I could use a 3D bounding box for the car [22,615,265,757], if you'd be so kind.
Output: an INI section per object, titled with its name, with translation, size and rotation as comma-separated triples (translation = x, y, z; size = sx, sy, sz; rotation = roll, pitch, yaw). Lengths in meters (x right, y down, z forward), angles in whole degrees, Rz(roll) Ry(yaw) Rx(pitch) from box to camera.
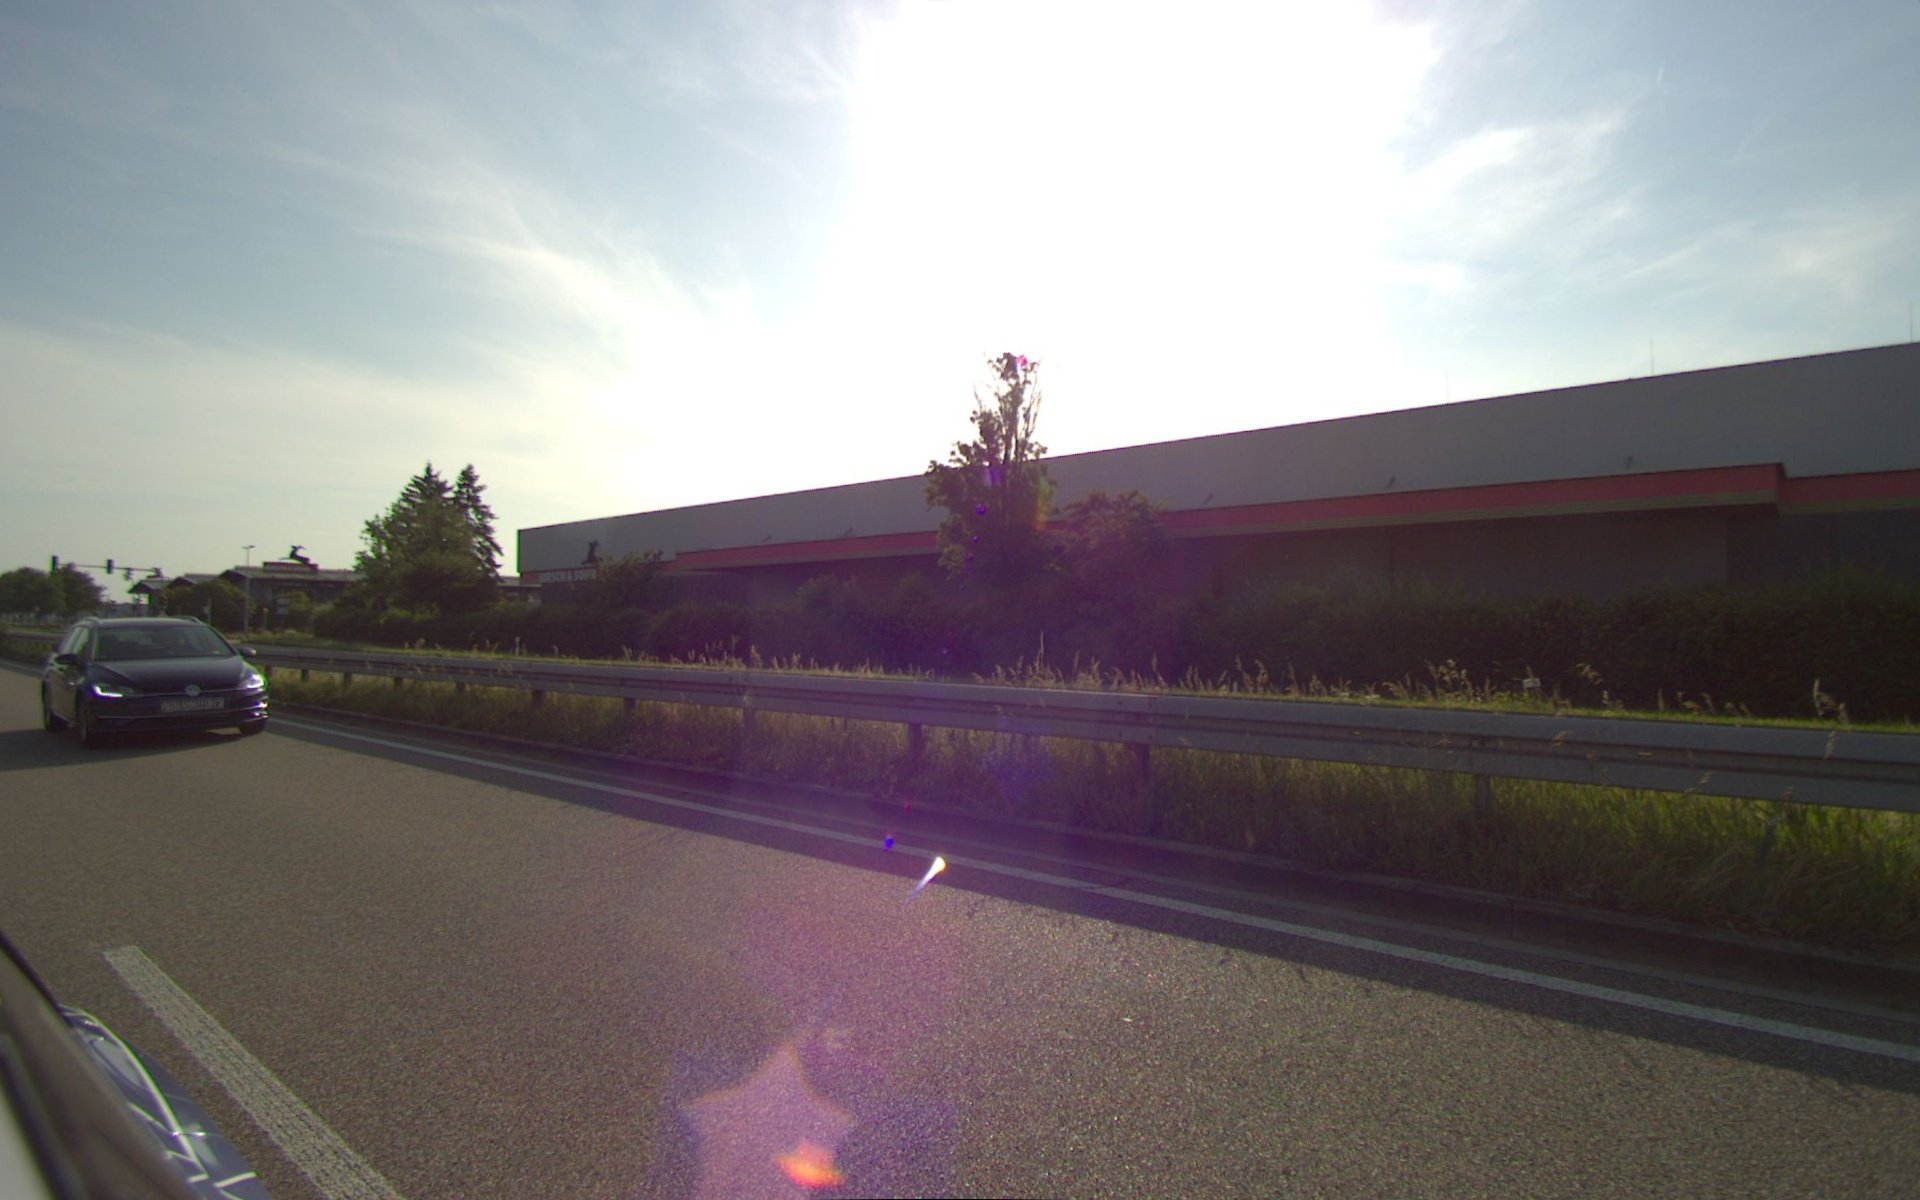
[car]
translation = -10.496, 0.960, 12.867
size = 4.774, 1.482, 1.629
rotation = -2, -1, 41
